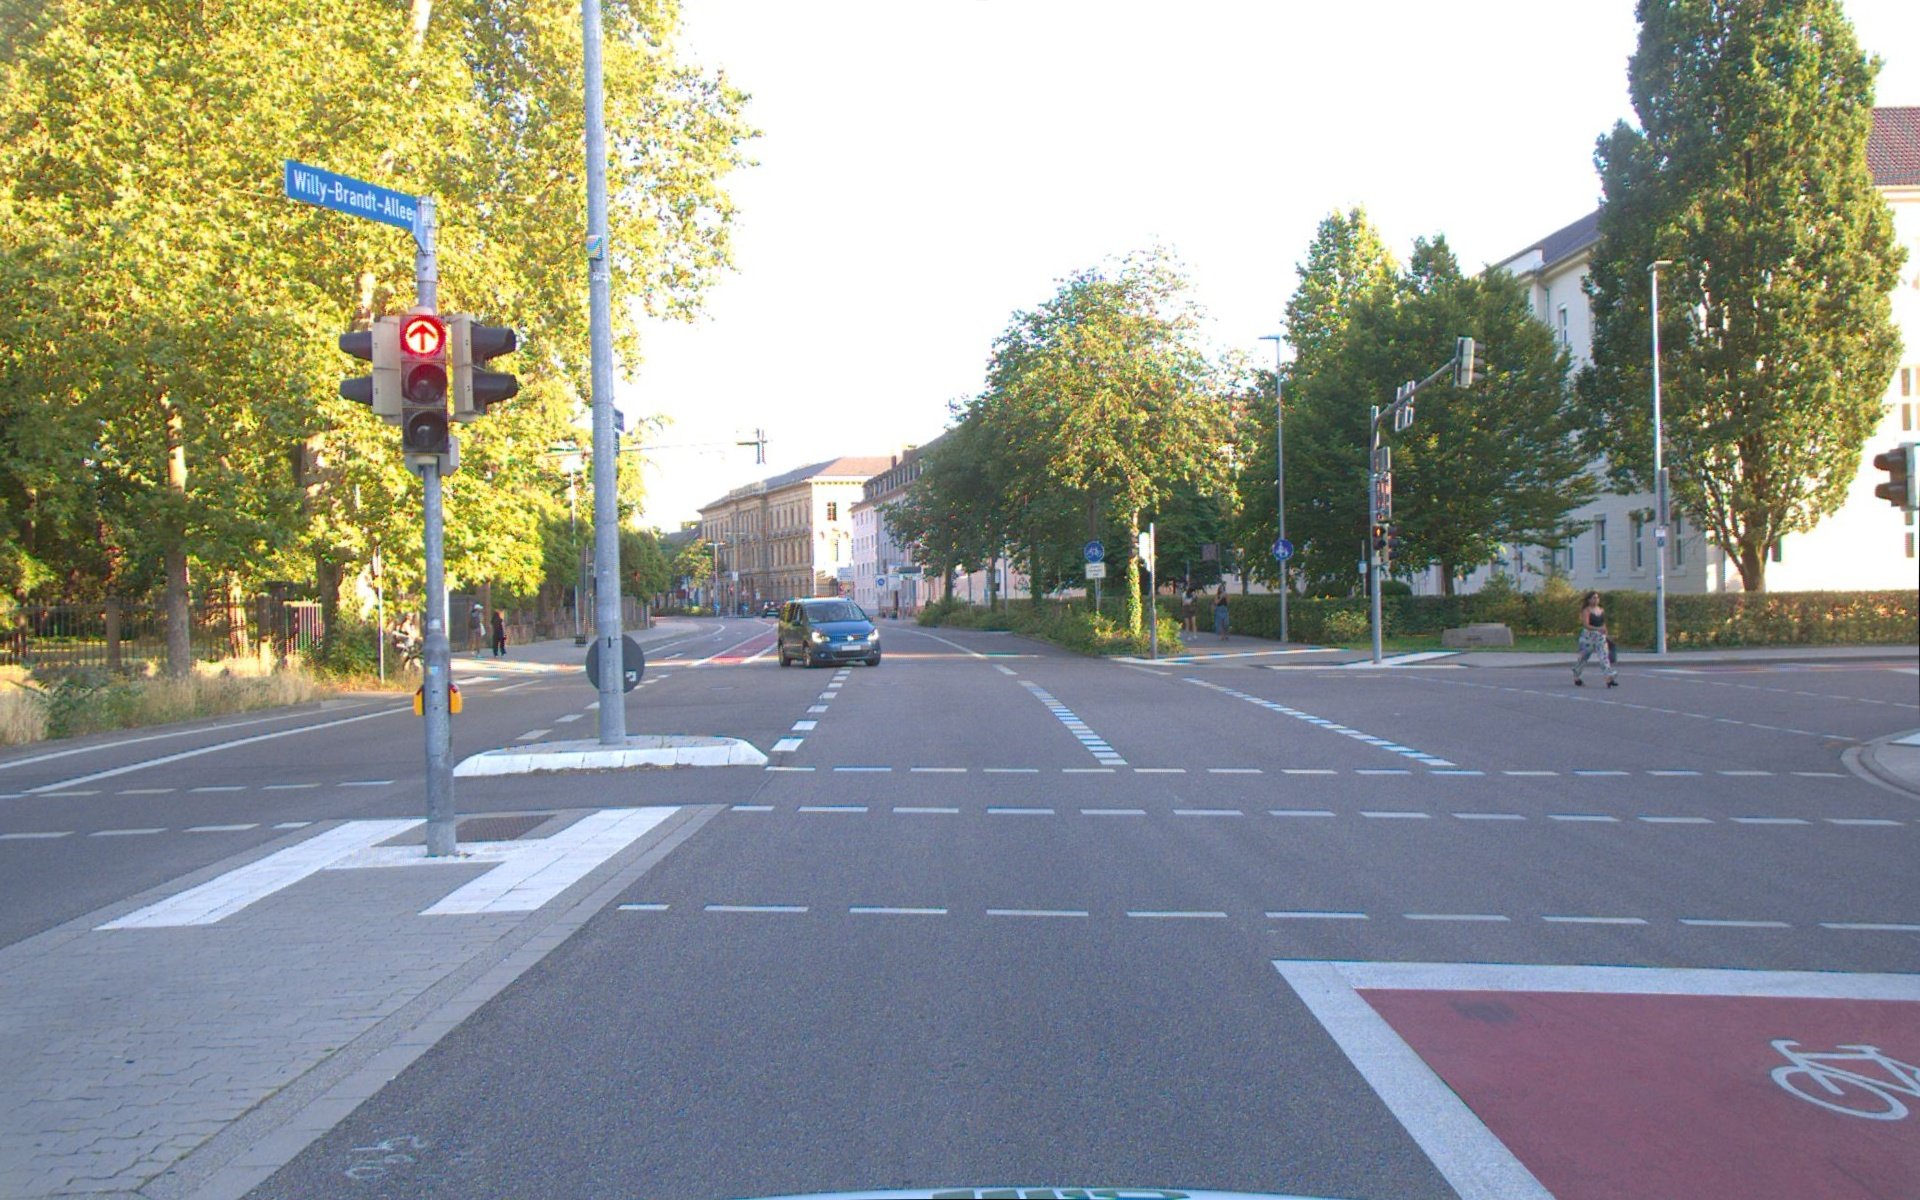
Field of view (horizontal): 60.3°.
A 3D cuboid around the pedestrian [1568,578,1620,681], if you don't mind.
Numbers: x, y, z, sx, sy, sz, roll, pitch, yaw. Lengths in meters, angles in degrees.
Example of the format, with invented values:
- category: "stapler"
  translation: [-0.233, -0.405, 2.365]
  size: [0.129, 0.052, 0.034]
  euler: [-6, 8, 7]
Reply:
- category: "pedestrian"
  translation: [10.361, 0.478, 27.046]
  size: [0.587, 1.664, 0.691]
  euler: [0, 0, 1]

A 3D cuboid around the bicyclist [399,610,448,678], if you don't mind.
- category: "bicyclist"
  translation: [-13.539, 1.099, 41.766]
  size: [0.938, 1.659, 0.752]
  euler: [-1, 0, 0]

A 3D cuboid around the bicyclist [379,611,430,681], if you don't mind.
- category: "bicyclist"
  translation: [-13.457, 1.102, 40.071]
  size: [0.938, 1.659, 0.752]
  euler: [-1, 0, 0]

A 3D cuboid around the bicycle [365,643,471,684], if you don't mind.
- category: "bicycle"
  translation: [-13.676, 1.601, 41.781]
  size: [2.380, 0.940, 0.775]
  euler: [-1, 0, 0]

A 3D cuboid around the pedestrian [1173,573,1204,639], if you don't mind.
- category: "pedestrian"
  translation: [7.113, 0.177, 51.565]
  size: [0.852, 2.049, 0.722]
  euler: [0, 0, -1]

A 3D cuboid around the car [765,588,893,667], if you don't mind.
- category: "car"
  translation: [-3.223, 0.633, 39.949]
  size: [1.824, 1.750, 4.265]
  euler: [-1, 0, -23]

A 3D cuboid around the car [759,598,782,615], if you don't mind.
- category: "car"
  translation: [-19.413, 0.640, 169.431]
  size: [1.789, 1.616, 3.984]
  euler: [-2, 0, -15]

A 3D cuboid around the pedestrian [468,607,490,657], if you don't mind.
- category: "pedestrian"
  translation: [-15.939, 1.061, 54.770]
  size: [0.524, 1.624, 0.590]
  euler: [-1, 0, -1]

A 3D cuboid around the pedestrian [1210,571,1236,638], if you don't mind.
- category: "pedestrian"
  translation: [8.114, 0.122, 51.052]
  size: [0.622, 2.049, 0.720]
  euler: [0, 0, -5]

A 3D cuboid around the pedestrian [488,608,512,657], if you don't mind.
- category: "pedestrian"
  translation: [-15.215, 1.059, 54.710]
  size: [0.587, 1.601, 0.646]
  euler: [-1, 0, -1]

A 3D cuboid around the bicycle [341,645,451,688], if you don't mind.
- category: "bicycle"
  translation: [-13.649, 1.604, 40.061]
  size: [2.380, 0.940, 0.775]
  euler: [-1, 0, 0]
